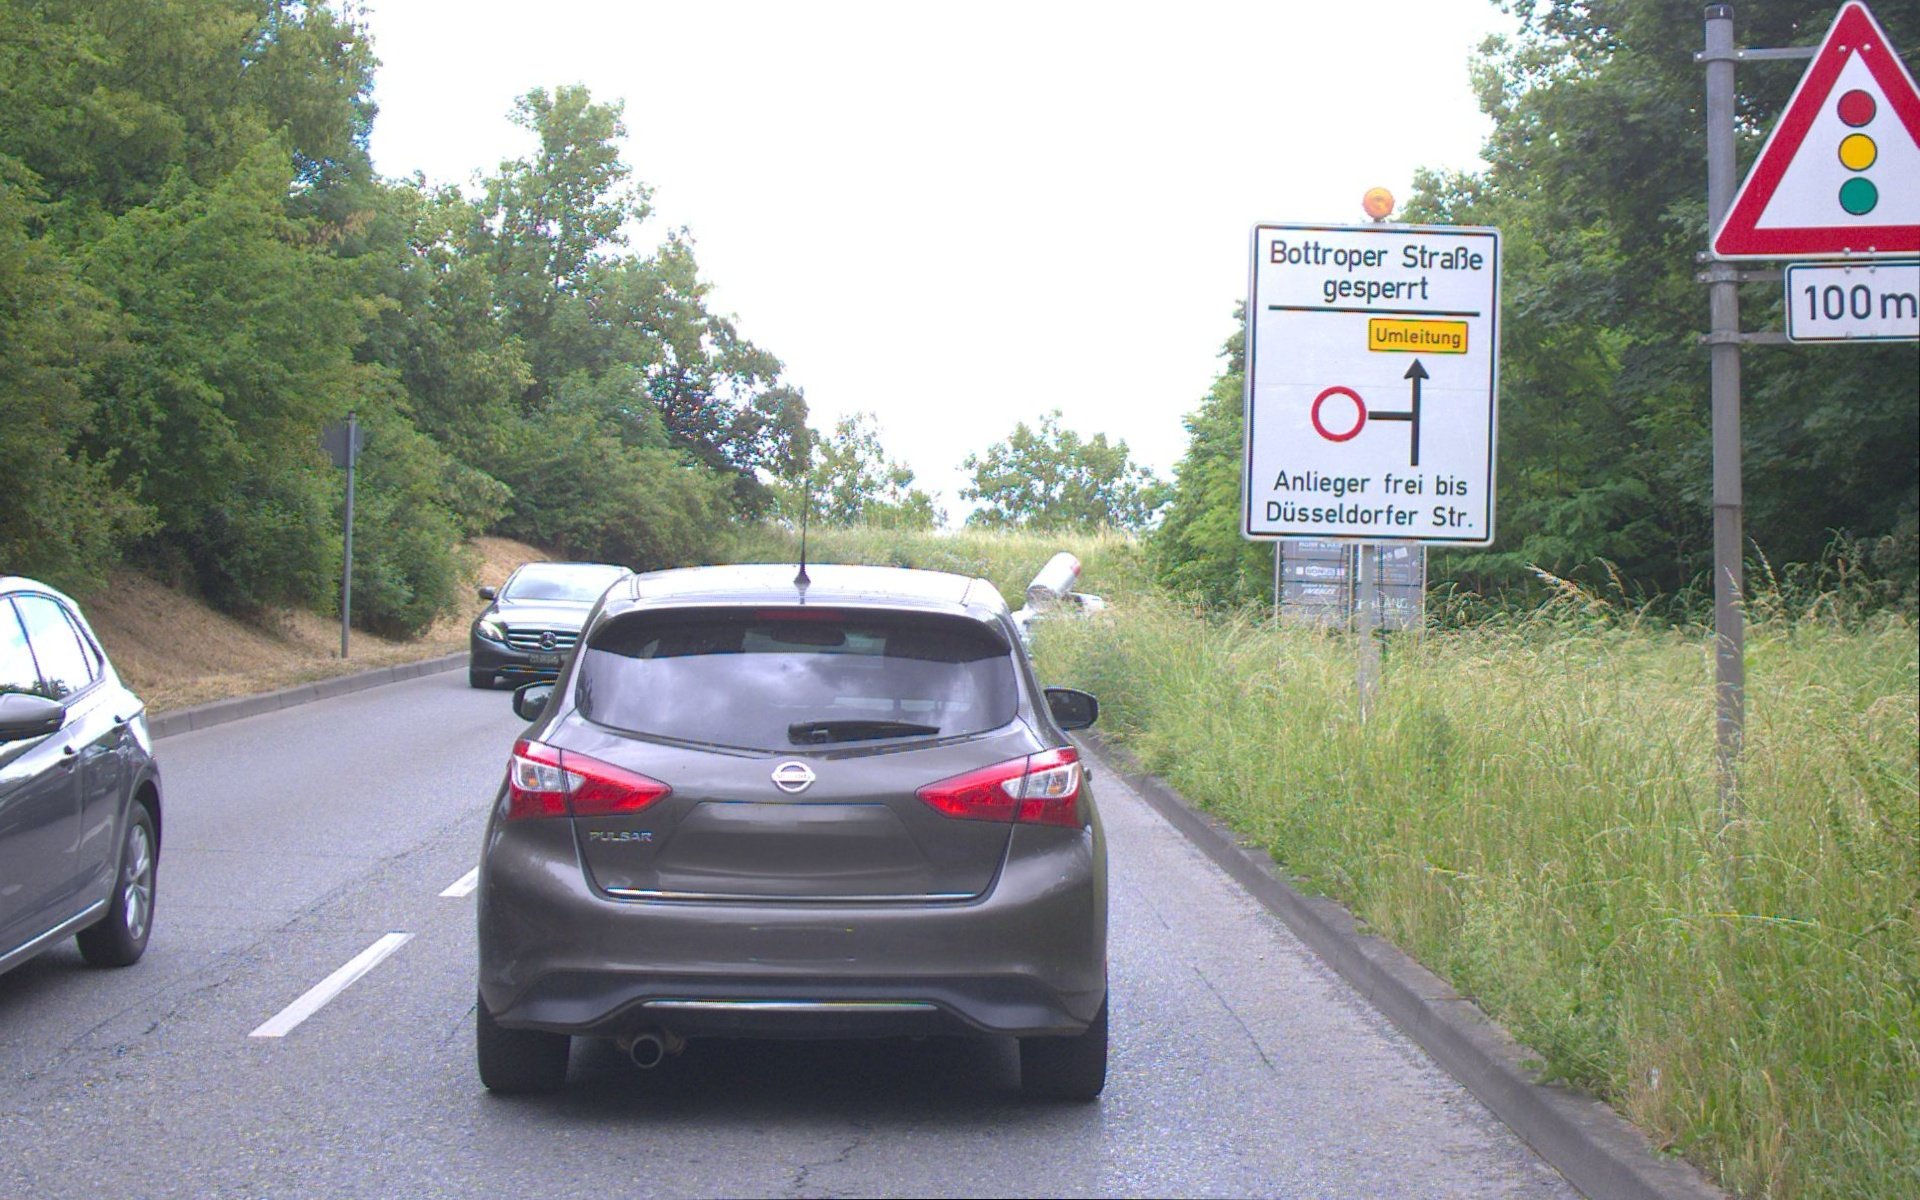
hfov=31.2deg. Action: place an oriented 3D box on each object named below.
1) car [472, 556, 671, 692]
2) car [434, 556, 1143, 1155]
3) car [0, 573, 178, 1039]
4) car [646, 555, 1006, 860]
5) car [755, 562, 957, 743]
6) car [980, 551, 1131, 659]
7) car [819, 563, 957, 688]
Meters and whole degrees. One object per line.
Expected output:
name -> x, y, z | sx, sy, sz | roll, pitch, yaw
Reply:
car -> -4.407, 0.246, 39.504 | 1.642, 1.395, 3.821 | 3, 1, 2
car -> -0.515, 0.645, 10.685 | 1.830, 1.551, 3.499 | 0, 1, -2
car -> -3.736, 0.620, 11.030 | 1.642, 1.395, 3.822 | 0, 1, -1
car -> -0.684, 0.525, 19.359 | 1.830, 1.551, 3.625 | 0, 1, 0
car -> -0.899, 0.432, 31.408 | 1.736, 1.551, 3.543 | 0, 1, 0
car -> 1.786, 0.072, 63.396 | 1.738, 1.928, 3.540 | 0, 1, 20
car -> -0.911, 0.305, 45.117 | 1.736, 1.551, 3.543 | 0, 1, 0
